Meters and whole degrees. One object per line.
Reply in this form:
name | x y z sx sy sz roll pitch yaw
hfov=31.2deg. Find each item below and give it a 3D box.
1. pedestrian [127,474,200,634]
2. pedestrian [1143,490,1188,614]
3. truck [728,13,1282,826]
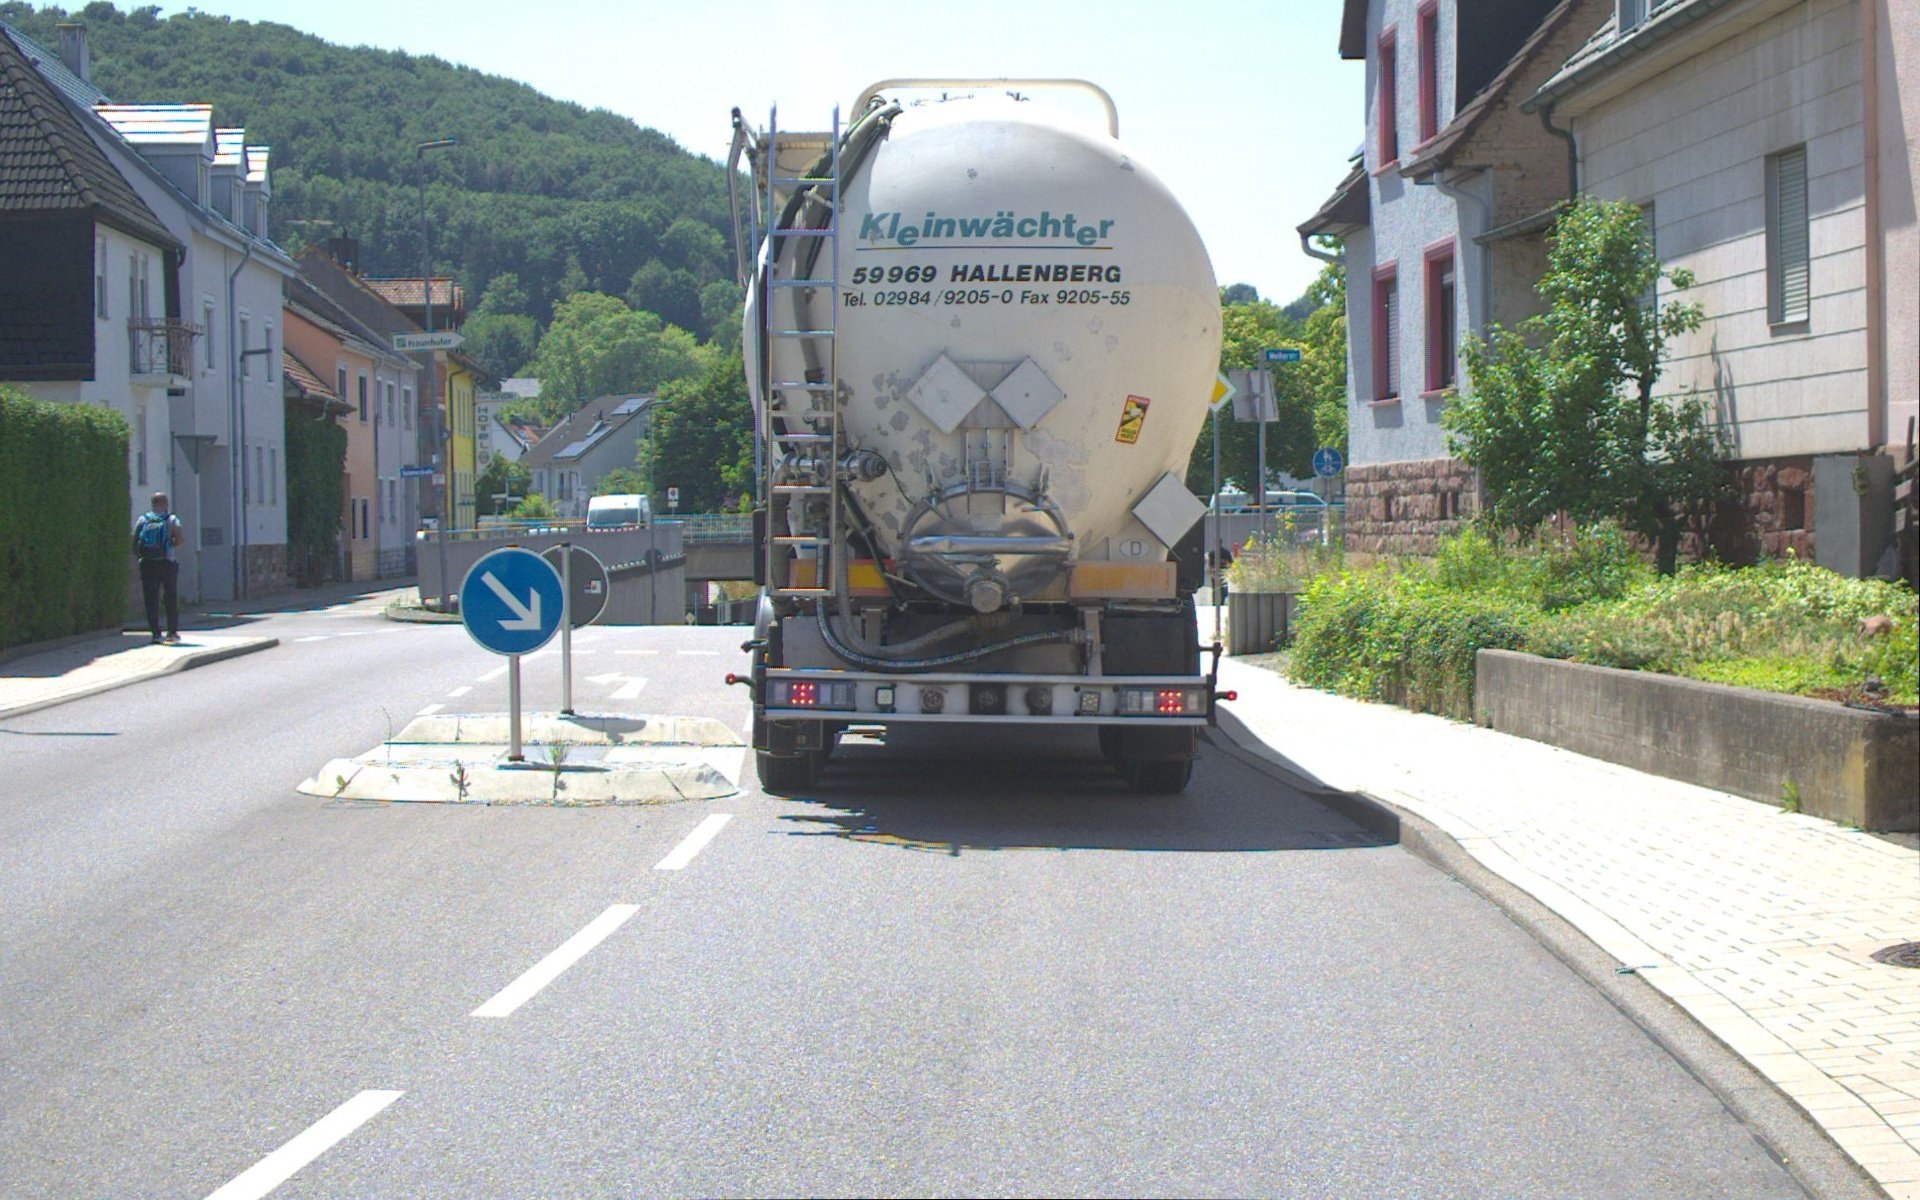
pedestrian | -9.183 -0.529 39.654 0.712 1.817 0.899 1 0 -7
pedestrian | 2.835 -0.664 47.423 0.571 1.688 0.721 1 0 1
truck | -0.136 -1.025 22.626 2.750 4.043 10.891 0 1 -4
